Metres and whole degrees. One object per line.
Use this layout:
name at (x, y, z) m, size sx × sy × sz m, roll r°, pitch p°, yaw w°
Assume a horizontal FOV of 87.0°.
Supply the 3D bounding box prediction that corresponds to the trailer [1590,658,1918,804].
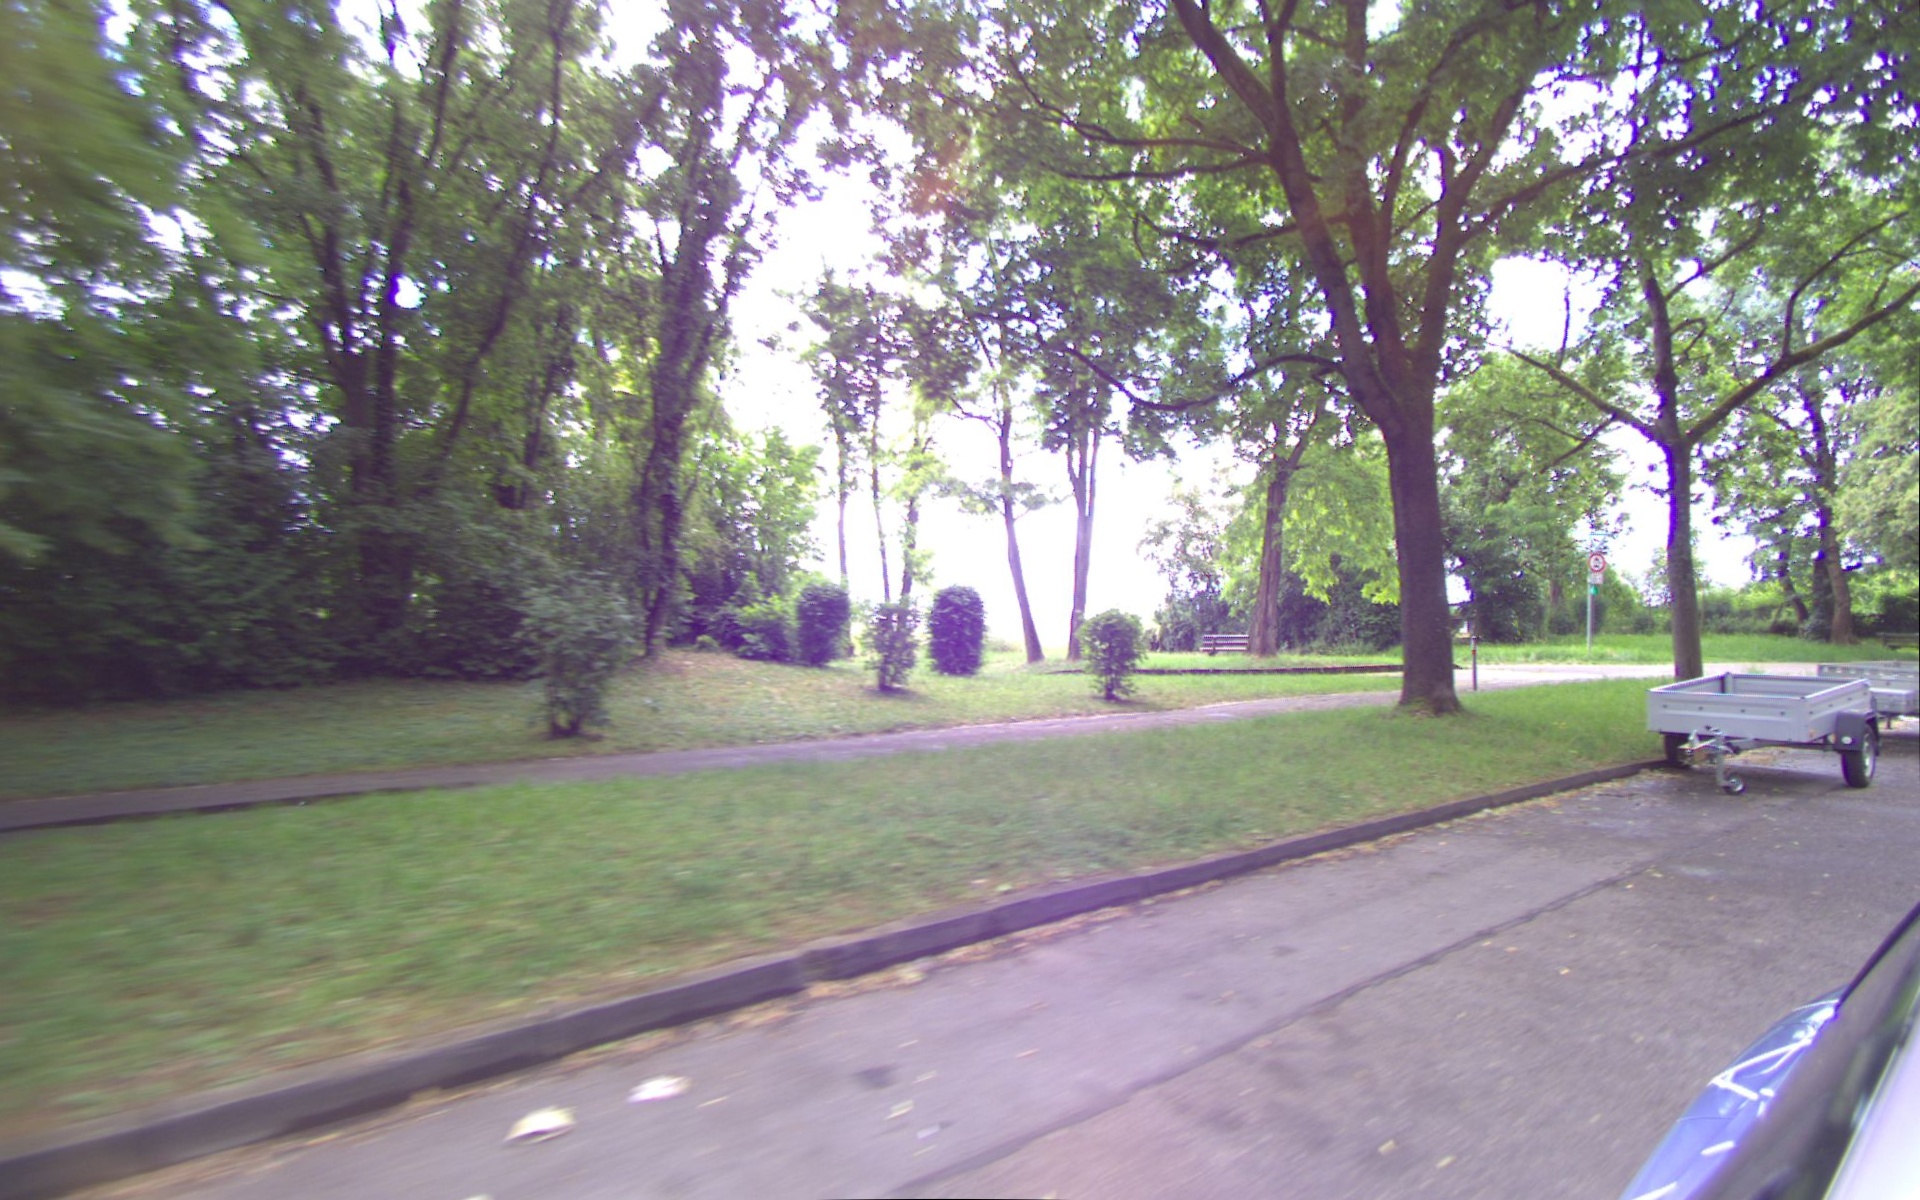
trailer at (6.950, 1.024, 8.785) m, size 3.217 × 0.858 × 1.367 m, roll -1°, pitch -1°, yaw -35°

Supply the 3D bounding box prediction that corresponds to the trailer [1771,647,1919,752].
trailer at (10.858, 1.049, 11.409) m, size 3.814 × 0.981 × 1.362 m, roll 1°, pitch -2°, yaw -30°
